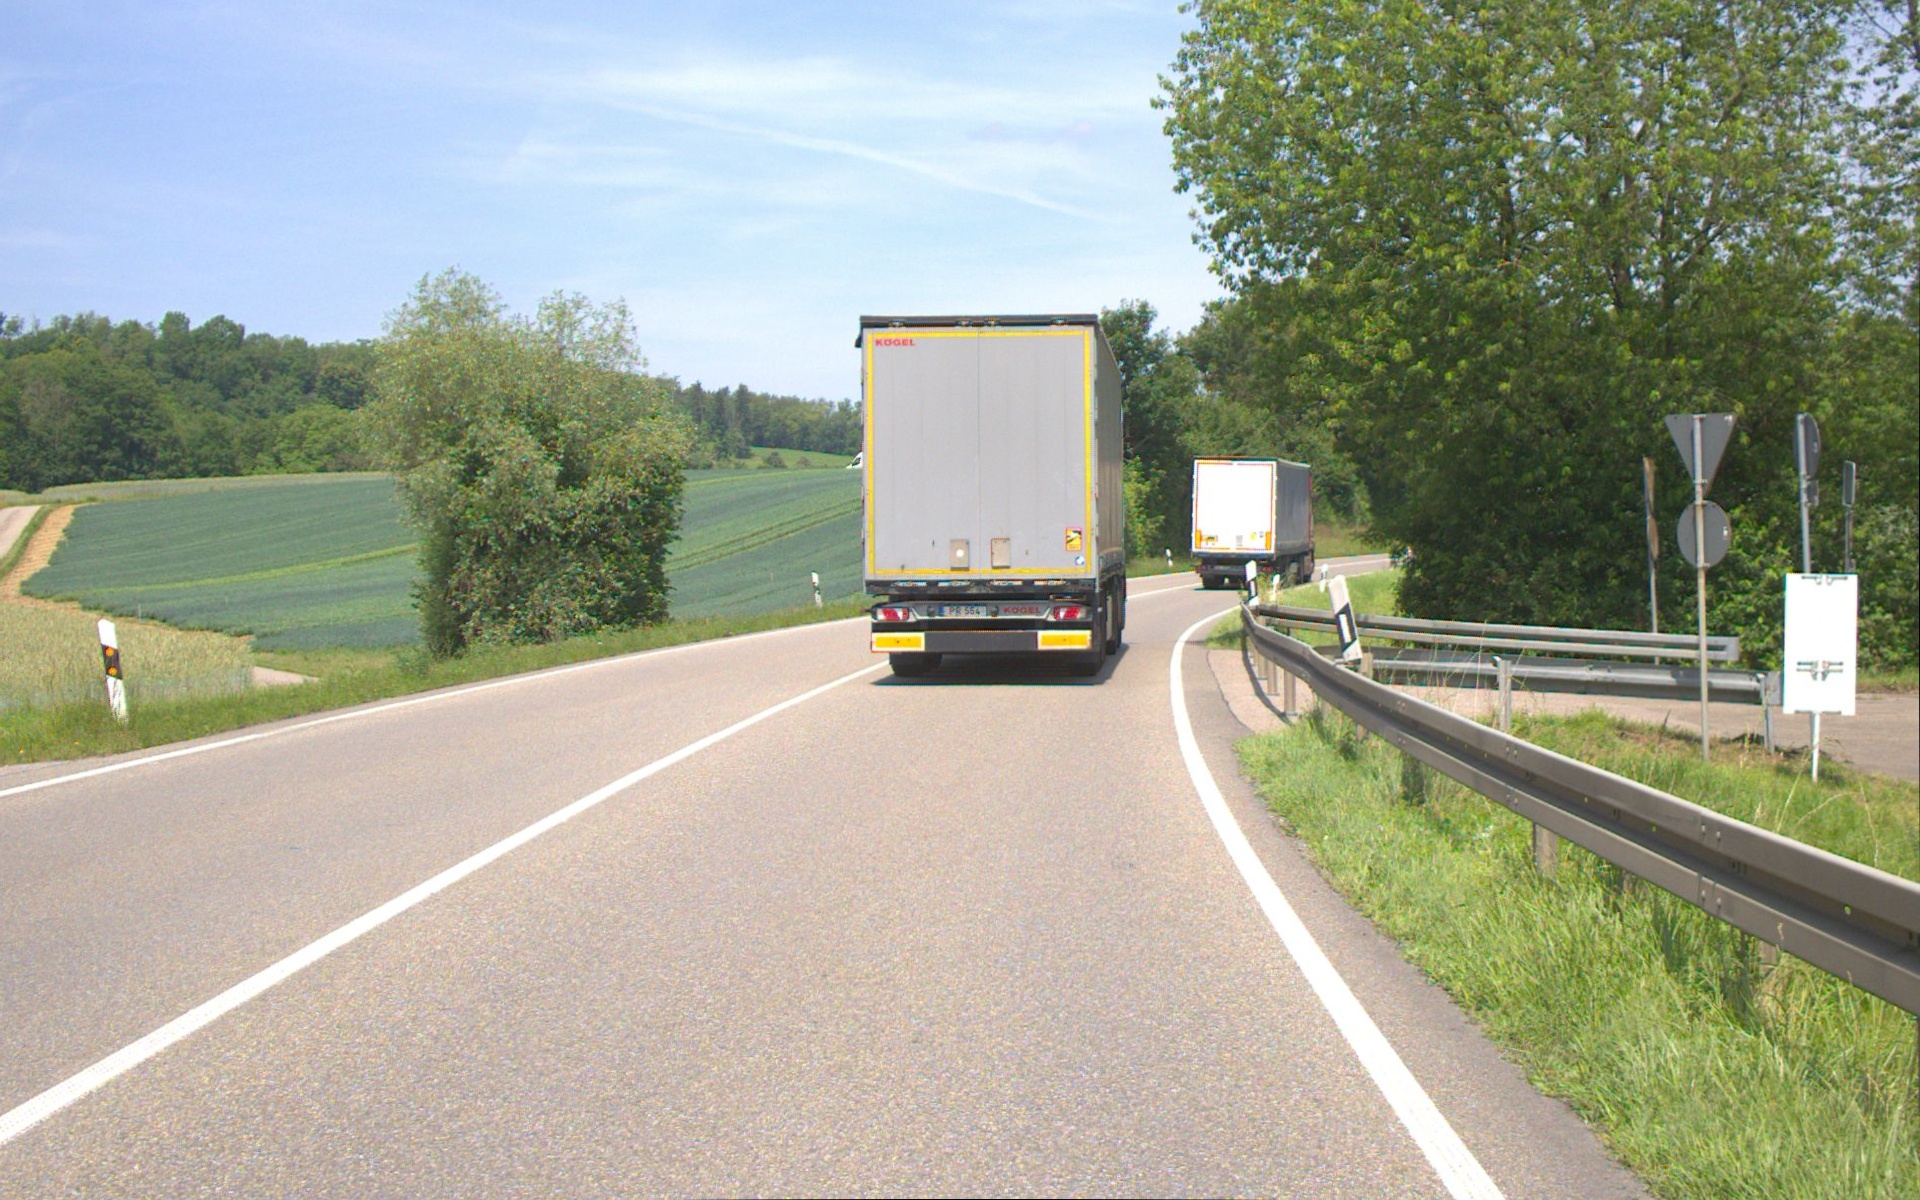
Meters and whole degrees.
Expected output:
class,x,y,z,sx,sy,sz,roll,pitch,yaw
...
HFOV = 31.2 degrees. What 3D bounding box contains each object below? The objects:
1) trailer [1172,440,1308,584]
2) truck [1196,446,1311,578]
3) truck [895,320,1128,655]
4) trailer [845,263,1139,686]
class,x,y,z,sx,sy,sz,roll,pitch,yaw
trailer,9.091,-2.809,110.145,3.366,4.302,13.860,0,1,9
truck,9.977,-2.956,116.273,3.366,4.302,6.738,0,1,9
truck,0.829,-1.560,49.445,3.118,4.479,6.811,0,1,2
trailer,0.585,-1.450,43.513,3.118,4.484,13.886,0,1,2
